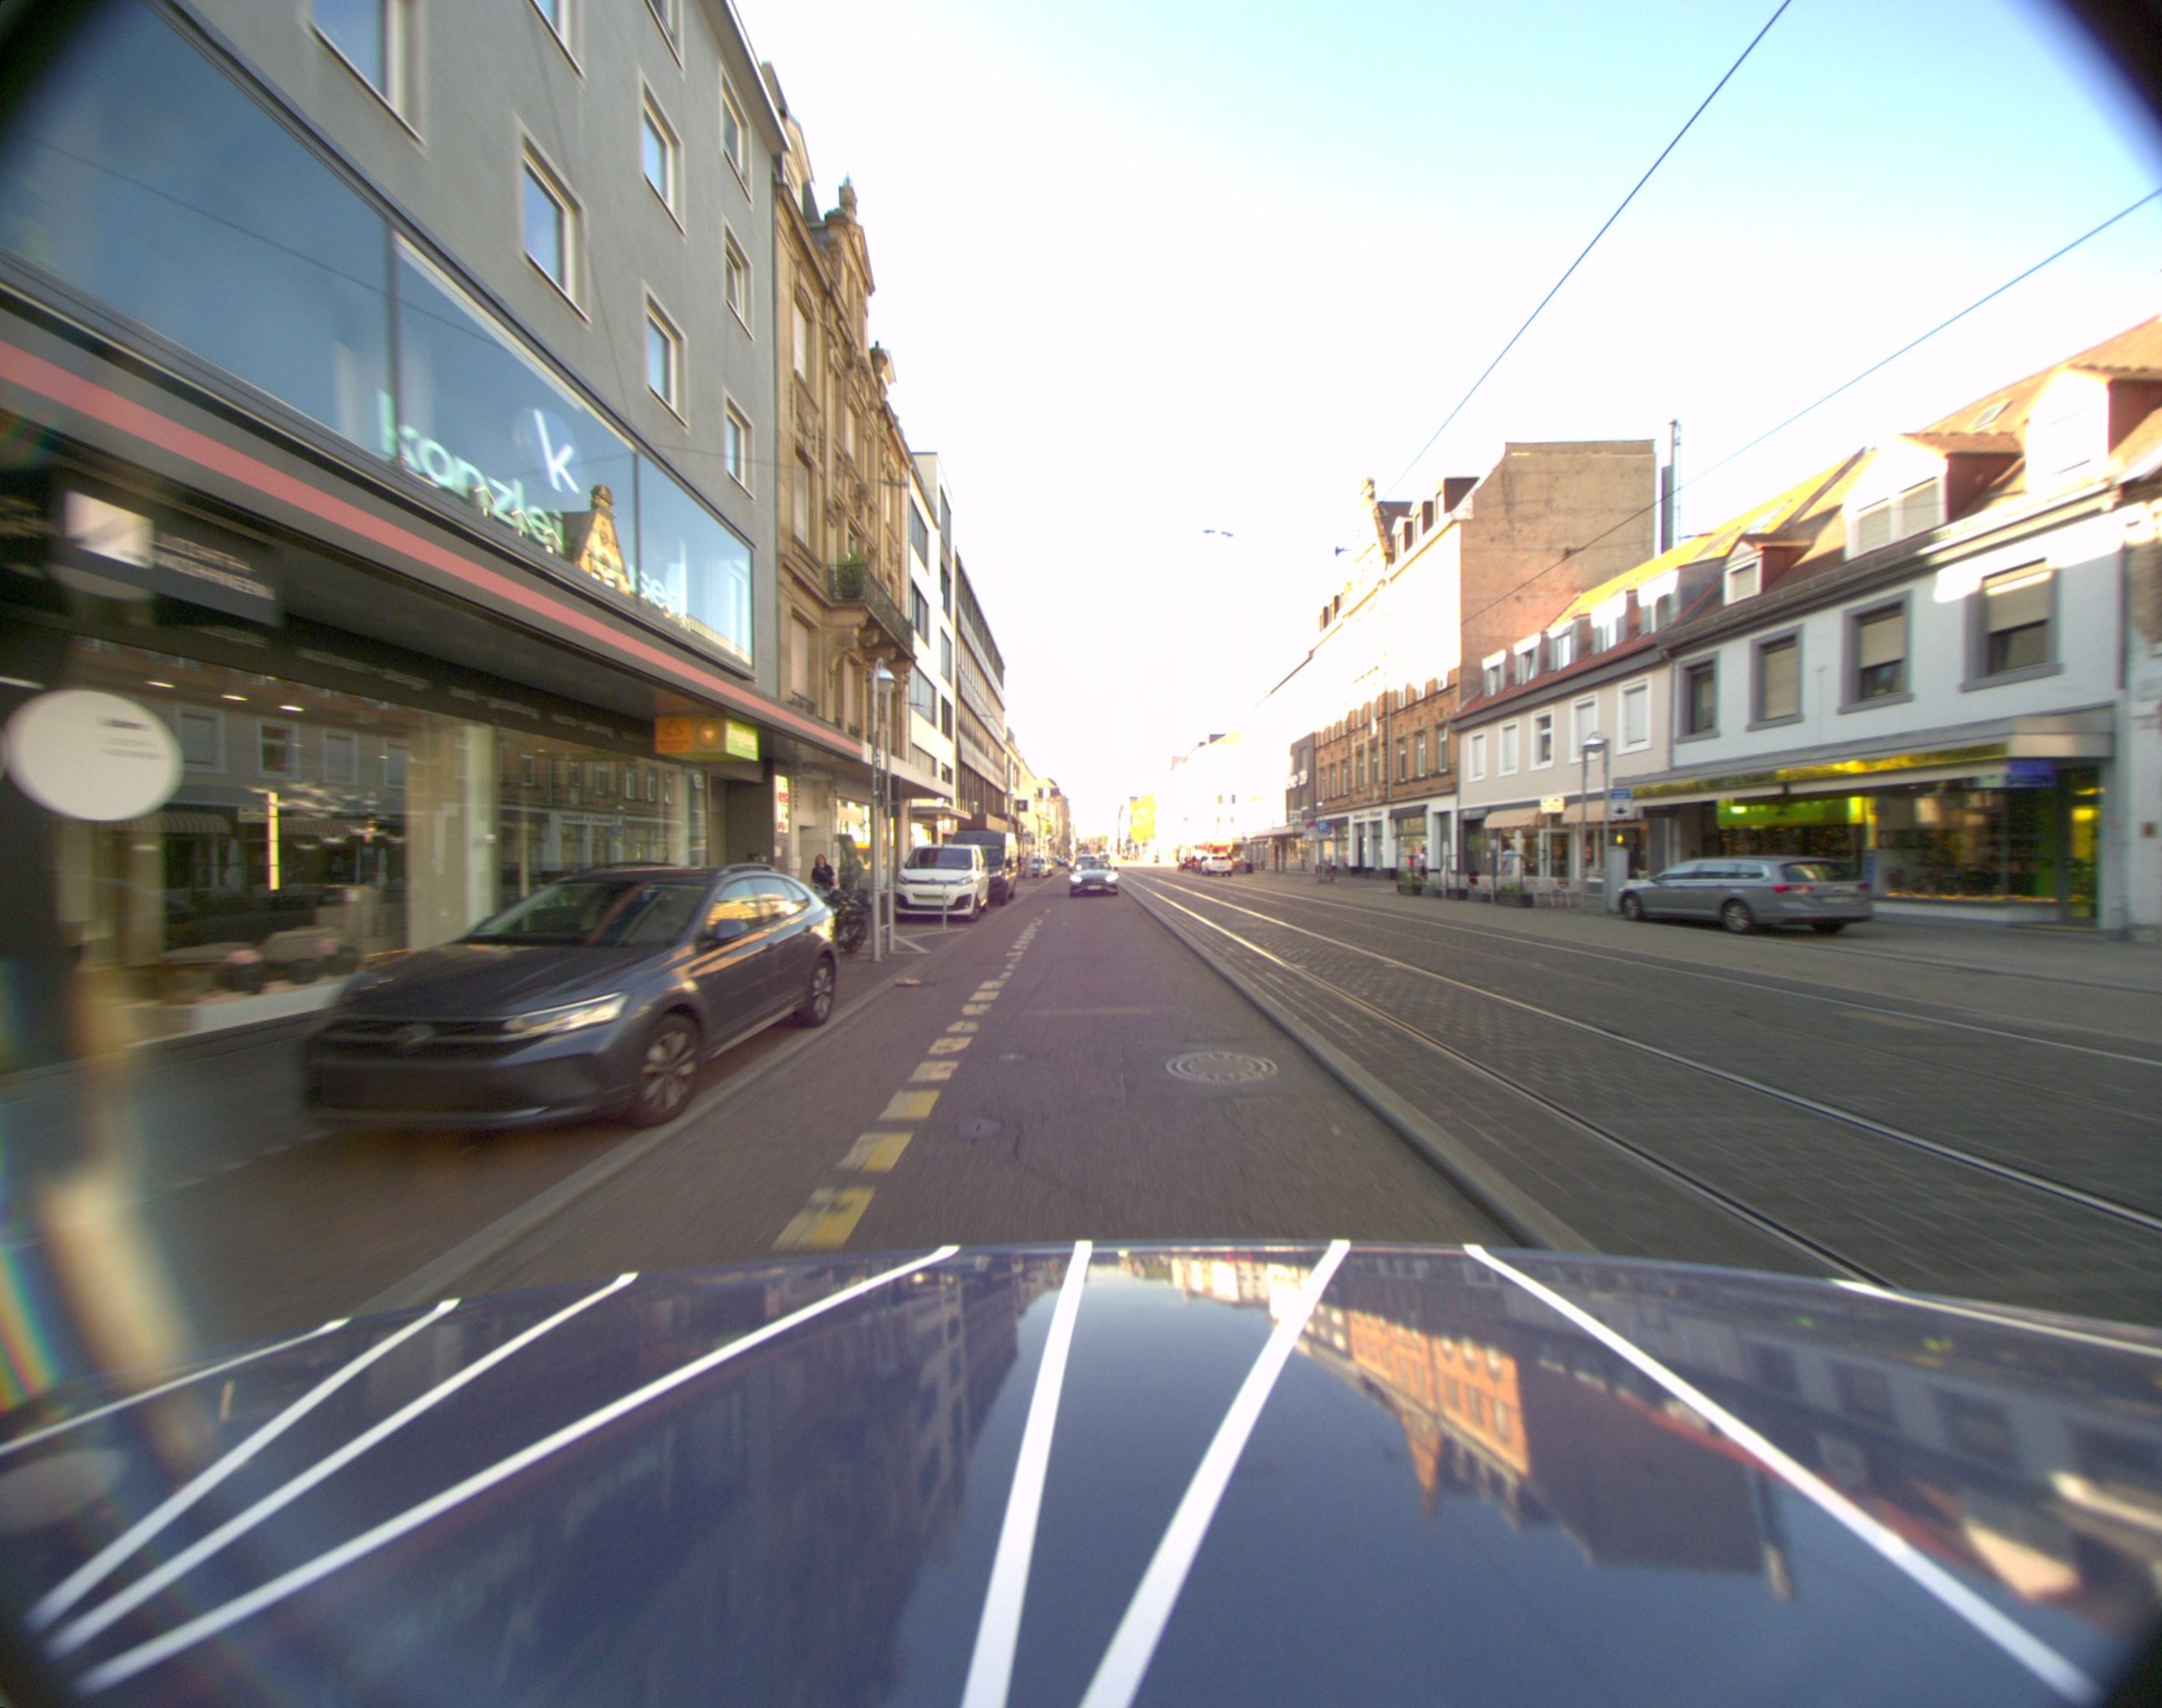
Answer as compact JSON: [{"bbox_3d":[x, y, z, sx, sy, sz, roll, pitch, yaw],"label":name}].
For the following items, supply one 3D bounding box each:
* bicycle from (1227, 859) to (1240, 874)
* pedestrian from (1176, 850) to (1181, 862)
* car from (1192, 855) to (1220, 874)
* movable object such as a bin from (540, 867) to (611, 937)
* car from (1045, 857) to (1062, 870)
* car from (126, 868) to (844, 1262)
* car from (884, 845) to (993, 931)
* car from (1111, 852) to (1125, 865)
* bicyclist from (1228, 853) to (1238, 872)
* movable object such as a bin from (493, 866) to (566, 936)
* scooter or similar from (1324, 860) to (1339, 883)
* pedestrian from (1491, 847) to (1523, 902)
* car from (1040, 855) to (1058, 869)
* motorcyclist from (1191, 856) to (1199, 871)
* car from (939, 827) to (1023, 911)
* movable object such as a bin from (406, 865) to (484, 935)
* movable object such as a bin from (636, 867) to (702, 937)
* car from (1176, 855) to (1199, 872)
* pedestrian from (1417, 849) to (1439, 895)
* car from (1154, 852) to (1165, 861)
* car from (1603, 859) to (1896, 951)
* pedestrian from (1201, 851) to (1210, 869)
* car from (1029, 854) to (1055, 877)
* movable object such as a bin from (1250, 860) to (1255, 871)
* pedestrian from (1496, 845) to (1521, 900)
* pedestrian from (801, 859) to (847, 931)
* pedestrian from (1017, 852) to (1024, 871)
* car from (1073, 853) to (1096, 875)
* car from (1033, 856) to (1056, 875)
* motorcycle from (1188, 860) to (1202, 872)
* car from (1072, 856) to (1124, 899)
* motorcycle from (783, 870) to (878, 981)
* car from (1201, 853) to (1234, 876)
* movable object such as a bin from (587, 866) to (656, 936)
[{"bbox_3d":[12.397,0.999,61.949,0.610,1.142,2.100,-2,1,1],"label":"bicycle"},{"bbox_3d":[16.750,0.346,130.466,0.669,1.939,0.620,-2,1,1],"label":"pedestrian"},{"bbox_3d":[10.402,0.865,63.392,1.667,1.521,4.000,1,1,0],"label":"car"},{"bbox_3d":[-10.133,0.938,15.256,0.881,1.353,0.801,0,0,0],"label":"movable object such as a bin"},{"bbox_3d":[-3.047,1.071,84.765,1.630,1.342,3.464,2,1,0],"label":"car"},{"bbox_3d":[-3.243,0.956,5.424,1.768,1.568,4.287,1,0,0],"label":"car"},{"bbox_3d":[-3.463,0.745,19.408,2.051,1.899,4.877,0,1,-2],"label":"car"},{"bbox_3d":[5.916,0.731,122.327,1.998,2.002,4.000,-2,1,1],"label":"car"},{"bbox_3d":[12.382,0.676,62.005,0.576,1.538,0.861,-2,1,0],"label":"bicyclist"},{"bbox_3d":[-11.045,0.919,15.249,0.881,1.353,0.801,0,0,0],"label":"movable object such as a bin"},{"bbox_3d":[13.774,0.944,41.815,0.404,1.216,1.202,-2,1,1],"label":"scooter or similar"},{"bbox_3d":[13.893,0.665,24.807,0.658,1.752,0.581,-3,1,-7],"label":"pedestrian"},{"bbox_3d":[-3.279,0.786,78.881,1.630,1.342,3.330,2,1,0],"label":"car"},{"bbox_3d":[10.141,0.838,67.638,0.540,1.295,0.655,1,1,0],"label":"motorcyclist"},{"bbox_3d":[-3.286,0.521,26.124,2.051,2.486,5.687,-2,-1,0],"label":"car"},{"bbox_3d":[-12.753,0.915,15.264,0.881,1.353,0.801,0,0,0],"label":"movable object such as a bin"},{"bbox_3d":[-8.276,0.941,15.284,0.881,1.353,0.801,0,0,0],"label":"movable object such as a bin"},{"bbox_3d":[10.182,0.889,72.842,1.667,1.521,4.000,1,1,0],"label":"car"},{"bbox_3d":[13.695,0.709,29.999,0.581,1.795,0.659,-2,1,12],"label":"pedestrian"},{"bbox_3d":[14.303,0.412,139.315,1.630,1.524,3.464,2,1,0],"label":"car"},{"bbox_3d":[13.191,0.899,15.506,1.822,1.505,4.762,-1,0,0],"label":"car"},{"bbox_3d":[12.444,0.613,76.128,0.705,1.830,0.636,-2,1,0],"label":"pedestrian"},{"bbox_3d":[-2.828,0.840,55.078,1.630,1.543,3.508,2,1,0],"label":"car"},{"bbox_3d":[14.335,0.948,63.438,0.325,0.942,0.467,-1,1,0],"label":"movable object such as a bin"},{"bbox_3d":[14.517,0.629,25.787,0.657,1.838,0.583,-2,1,31],"label":"pedestrian"},{"bbox_3d":[-5.463,0.855,16.200,0.697,1.499,0.814,0,0,0],"label":"pedestrian"},{"bbox_3d":[-5.321,0.655,66.725,0.513,1.665,0.744,-2,1,0],"label":"pedestrian"},{"bbox_3d":[0.302,0.737,57.481,1.630,1.593,3.330,2,1,0],"label":"car"},{"bbox_3d":[-2.869,0.880,60.186,1.630,1.342,3.330,2,1,0],"label":"car"},{"bbox_3d":[10.160,1.059,67.660,0.907,0.987,1.935,1,1,0],"label":"motorcycle"},{"bbox_3d":[0.613,0.849,29.549,1.858,1.463,4.786,0,0,0],"label":"car"},{"bbox_3d":[-3.666,0.986,11.339,0.660,1.423,2.322,0,1,0],"label":"motorcycle"},{"bbox_3d":[10.093,0.714,56.289,1.802,1.625,3.676,0,1,0],"label":"car"},{"bbox_3d":[-9.204,0.923,15.248,0.881,1.353,0.801,0,0,0],"label":"movable object such as a bin"}]
